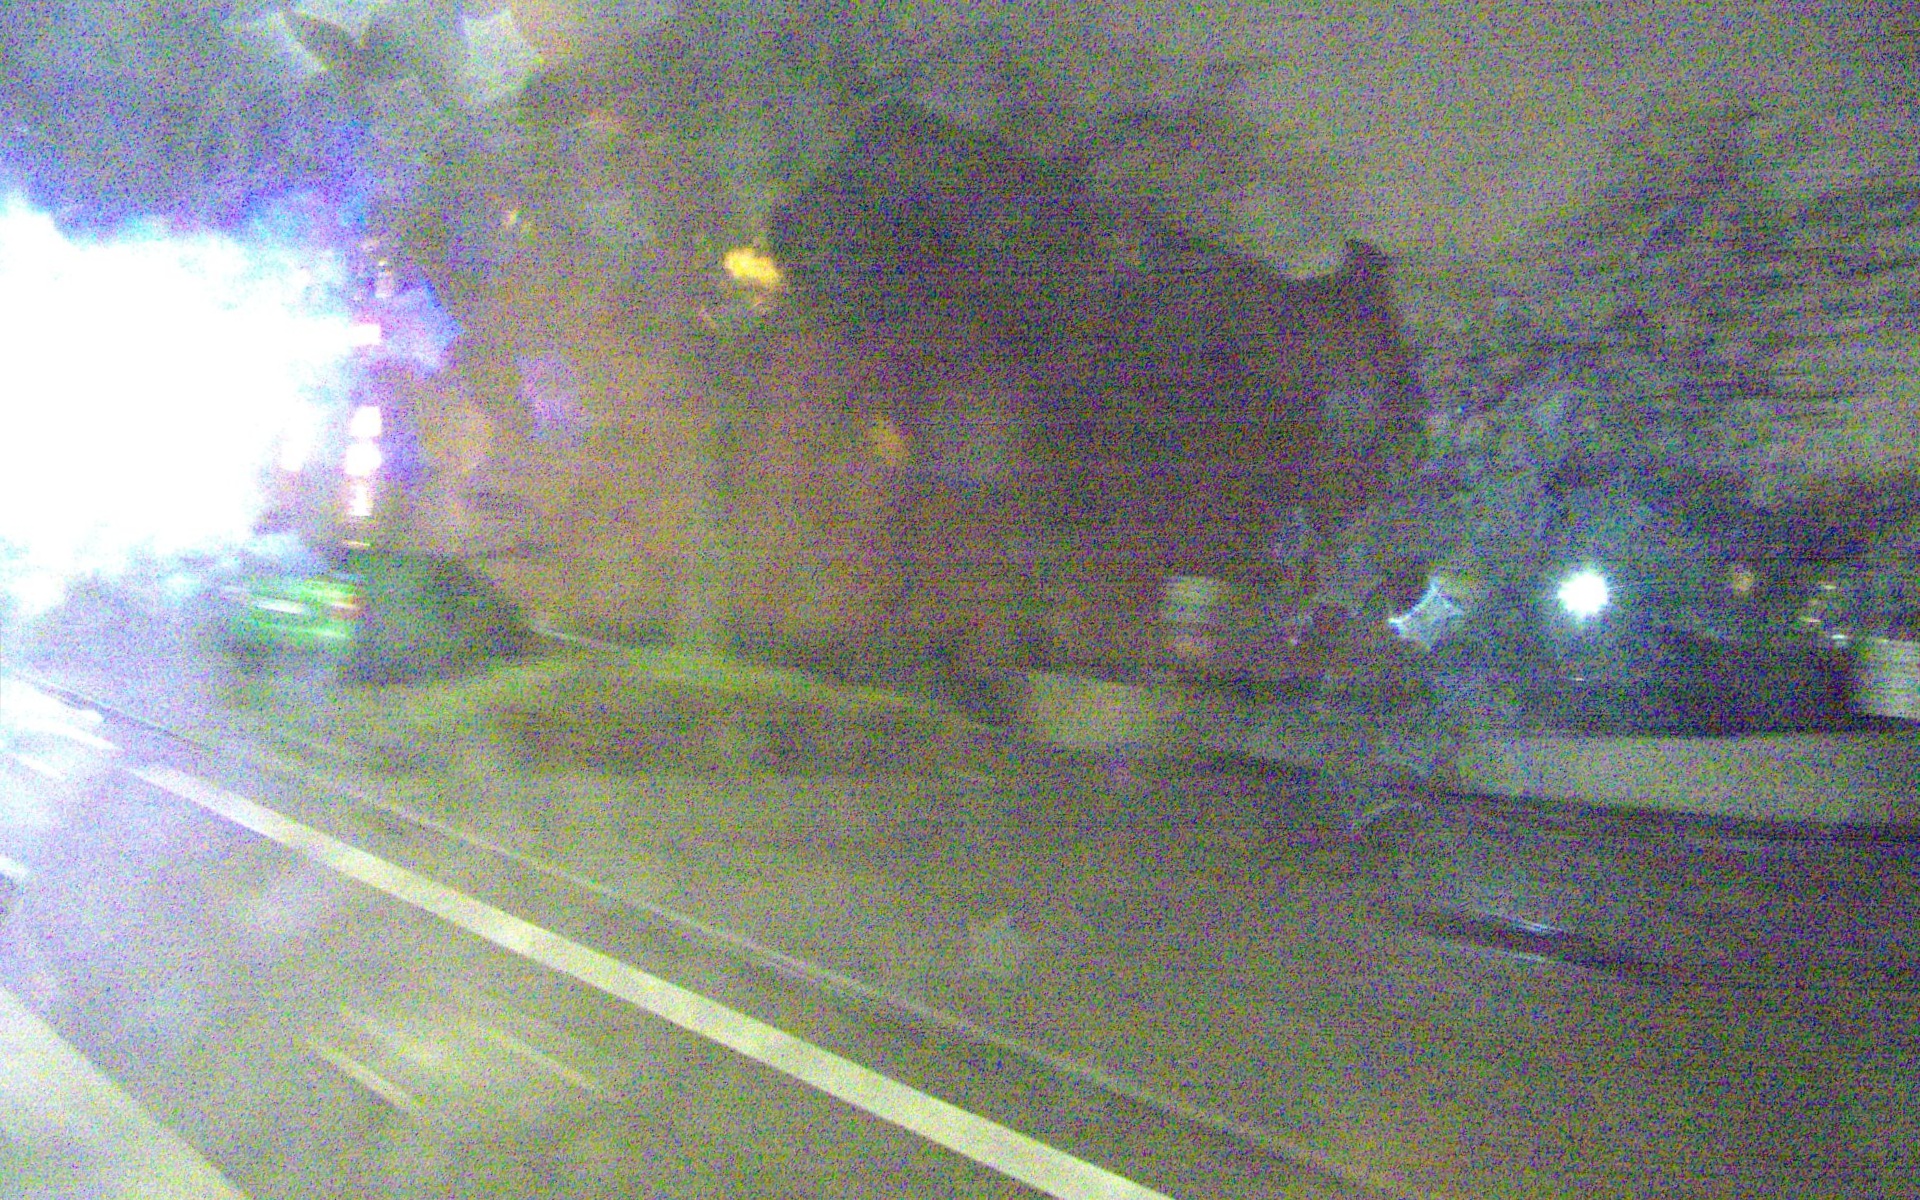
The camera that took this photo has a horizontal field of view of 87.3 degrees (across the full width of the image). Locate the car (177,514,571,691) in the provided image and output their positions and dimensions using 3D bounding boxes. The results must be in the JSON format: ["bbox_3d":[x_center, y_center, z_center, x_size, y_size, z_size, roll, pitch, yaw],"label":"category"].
[{"bbox_3d":[-6.711,0.096,12.167,1.923,1.555,4.110,7,-1,6],"label":"car"}]
